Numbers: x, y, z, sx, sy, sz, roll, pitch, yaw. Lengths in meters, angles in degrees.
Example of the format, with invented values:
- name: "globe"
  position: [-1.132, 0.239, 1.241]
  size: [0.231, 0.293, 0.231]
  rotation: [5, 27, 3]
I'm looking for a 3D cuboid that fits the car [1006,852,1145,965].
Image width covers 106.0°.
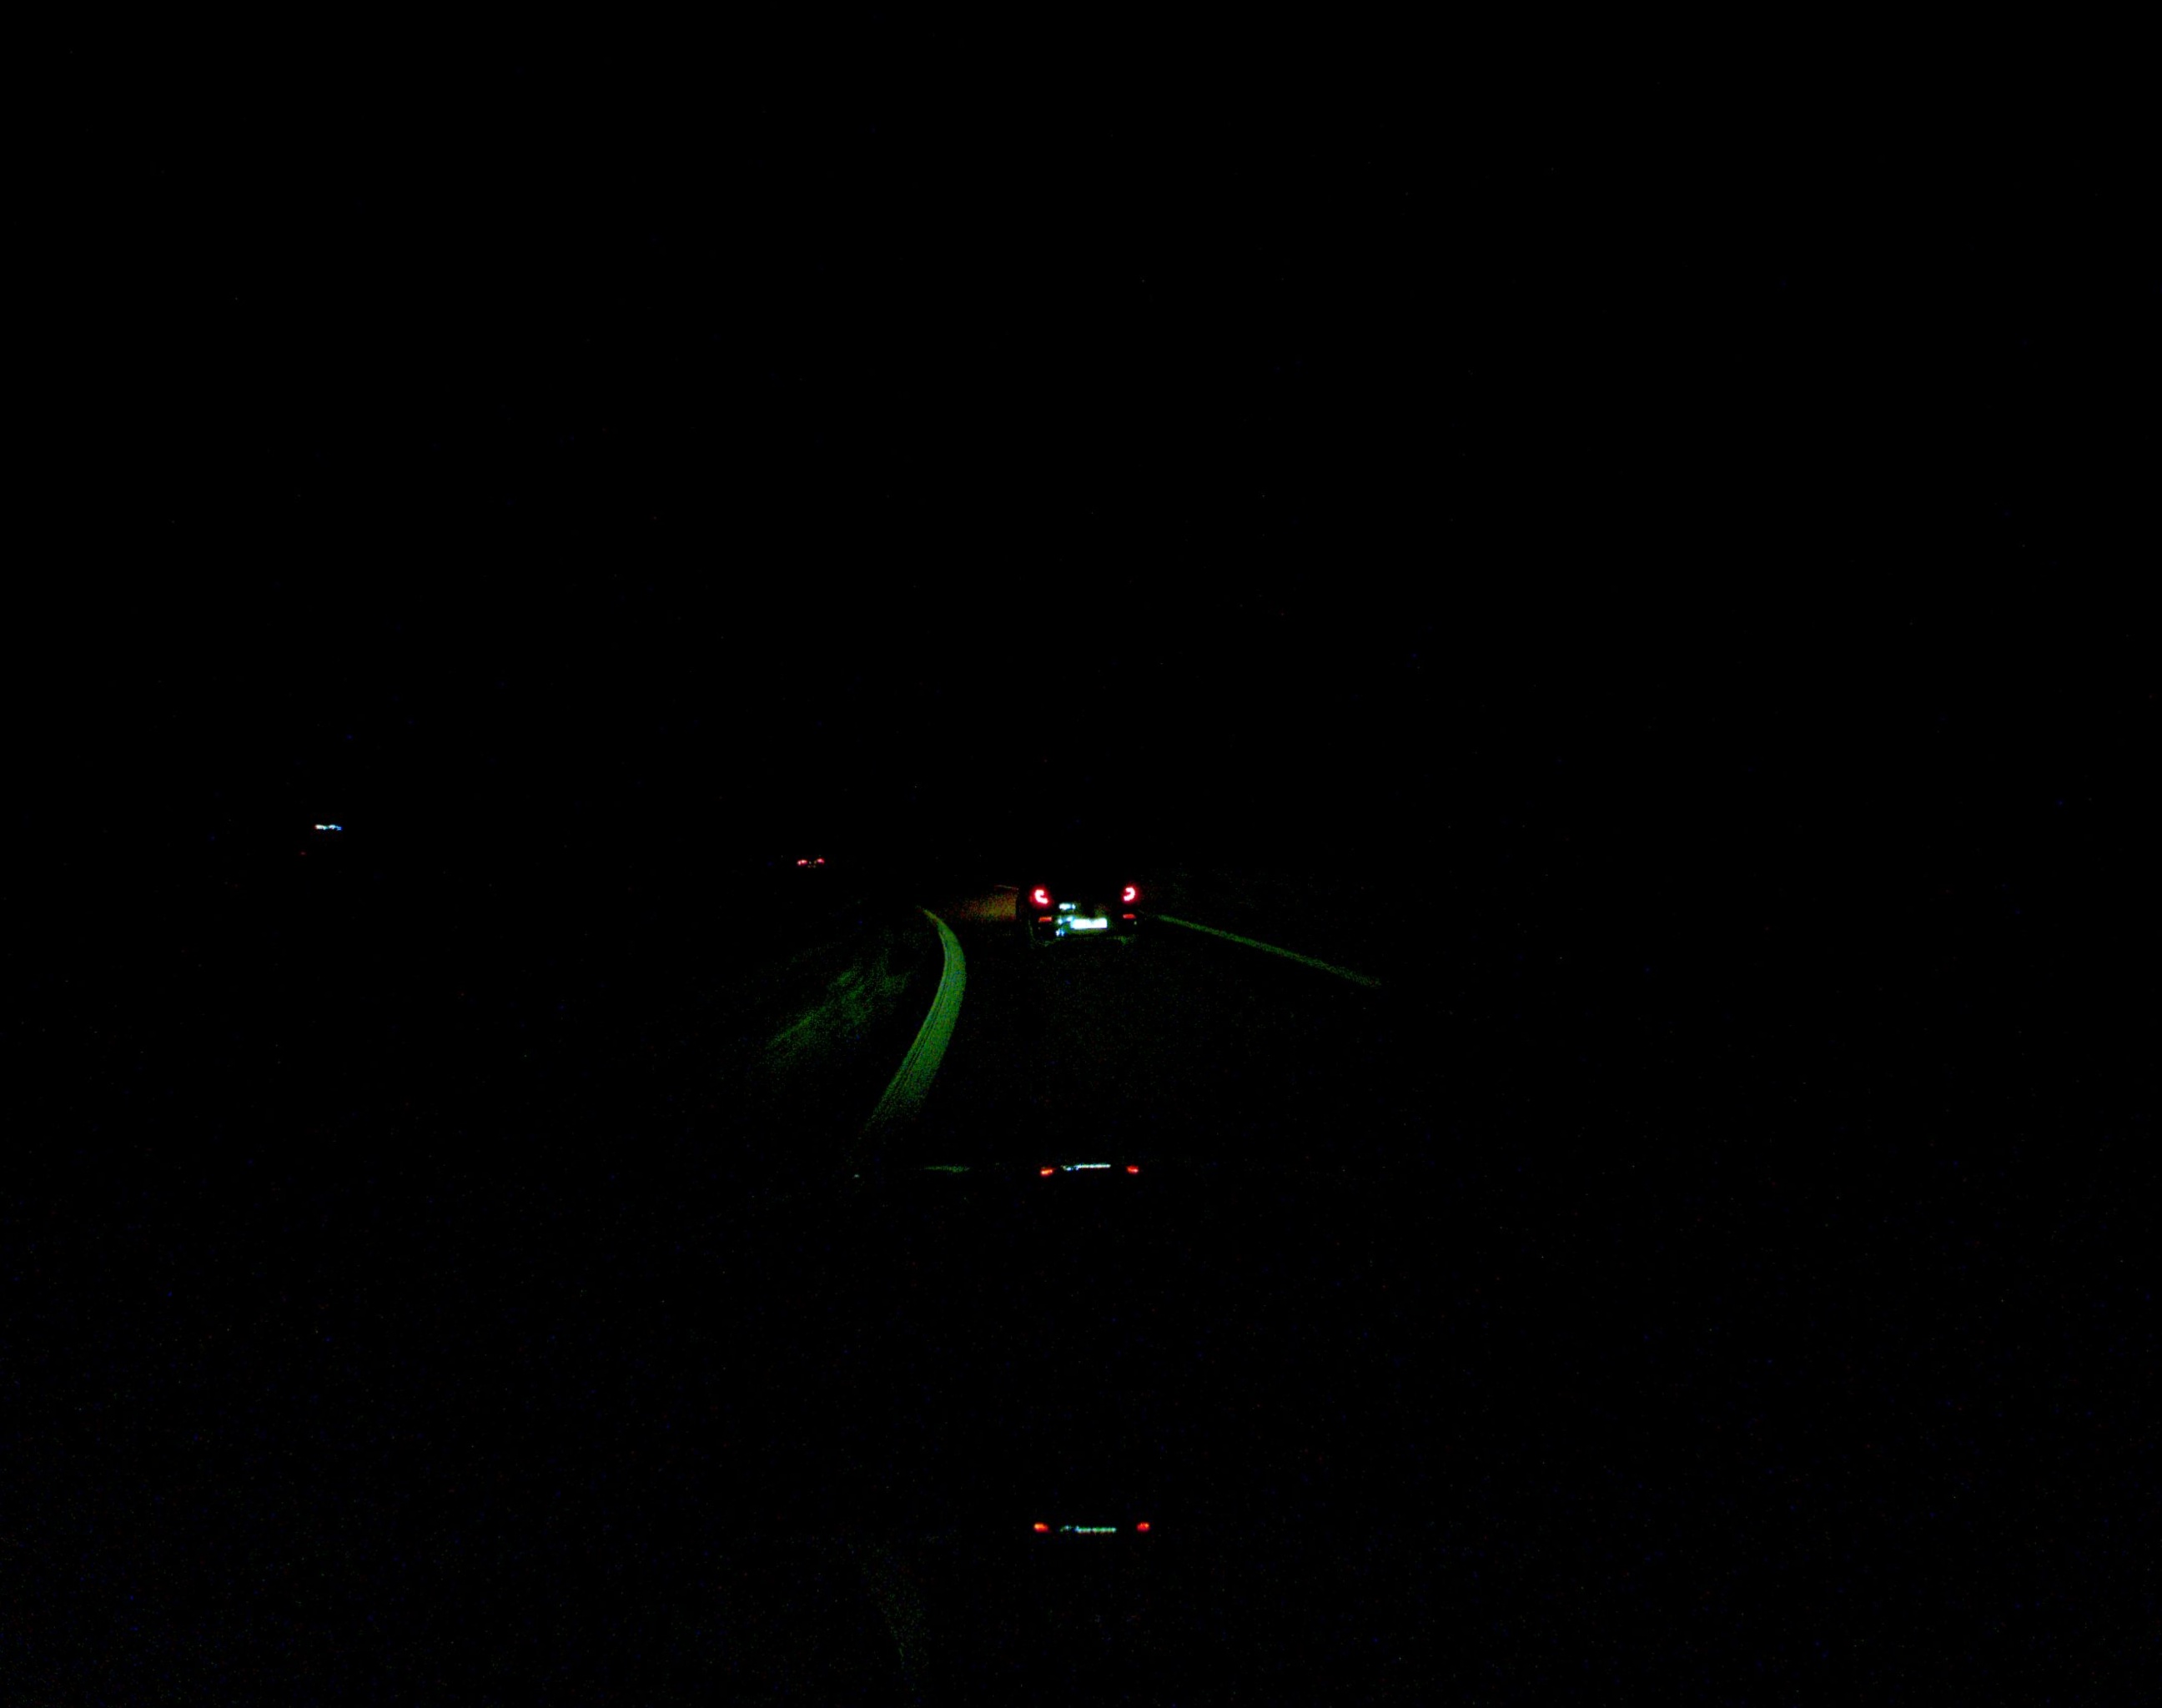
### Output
- name: "car"
  position: [-0.248, 0.766, 13.547]
  size: [1.691, 1.477, 3.988]
  rotation: [-4, 1, -8]

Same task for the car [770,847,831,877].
- name: "car"
  position: [-17.541, 0.442, 50.877]
  size: [1.969, 1.537, 4.190]
  rotation: [-7, 6, -44]
